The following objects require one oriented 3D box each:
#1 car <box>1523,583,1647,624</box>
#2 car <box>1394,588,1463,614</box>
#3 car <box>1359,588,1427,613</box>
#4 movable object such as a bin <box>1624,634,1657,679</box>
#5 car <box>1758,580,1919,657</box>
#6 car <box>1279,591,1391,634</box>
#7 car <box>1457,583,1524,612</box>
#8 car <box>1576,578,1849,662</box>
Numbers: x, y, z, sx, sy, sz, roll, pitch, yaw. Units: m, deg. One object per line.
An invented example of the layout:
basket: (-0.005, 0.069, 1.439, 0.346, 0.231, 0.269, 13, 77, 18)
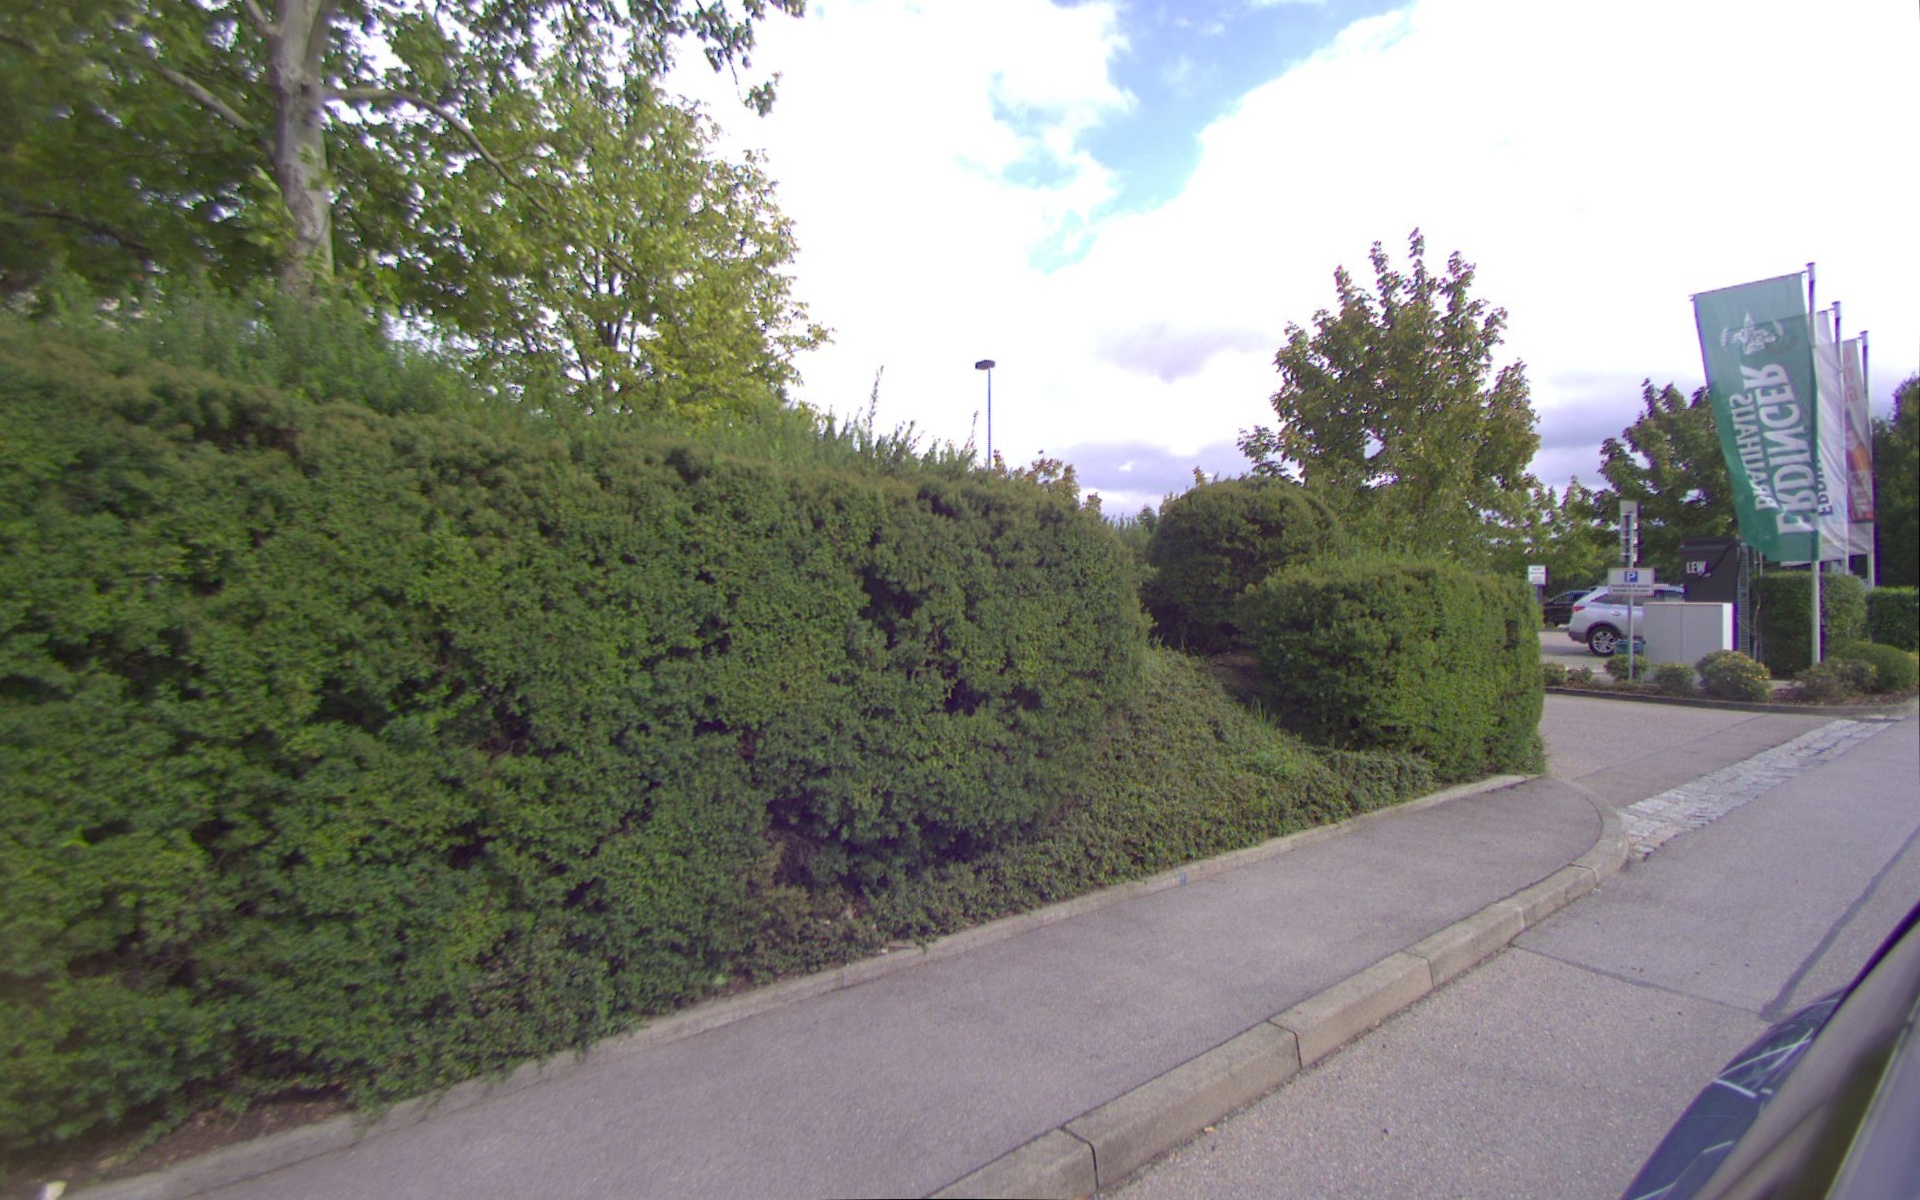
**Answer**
car: (27.364, 0.166, 44.444, 1.624, 1.738, 4.365, 0, -1, -32)
car: (28.822, 0.038, 62.265, 3.917, 1.538, 1.609, 0, -1, -23)
car: (27.579, 0.055, 64.502, 3.917, 1.538, 1.719, 0, -1, -23)
movable object such as a bin: (10.815, 0.893, 16.082, 0.360, 0.693, 0.289, 0, -1, -29)
car: (21.753, 0.421, 23.826, 1.624, 1.738, 4.365, 0, -1, -32)
car: (14.787, 0.485, 40.139, 1.958, 1.591, 4.007, 0, -1, -23)
car: (31.346, -0.150, 59.764, 3.921, 1.635, 1.724, 0, -1, -32)
car: (17.089, 0.363, 23.261, 1.880, 1.717, 4.686, -1, 1, -29)
